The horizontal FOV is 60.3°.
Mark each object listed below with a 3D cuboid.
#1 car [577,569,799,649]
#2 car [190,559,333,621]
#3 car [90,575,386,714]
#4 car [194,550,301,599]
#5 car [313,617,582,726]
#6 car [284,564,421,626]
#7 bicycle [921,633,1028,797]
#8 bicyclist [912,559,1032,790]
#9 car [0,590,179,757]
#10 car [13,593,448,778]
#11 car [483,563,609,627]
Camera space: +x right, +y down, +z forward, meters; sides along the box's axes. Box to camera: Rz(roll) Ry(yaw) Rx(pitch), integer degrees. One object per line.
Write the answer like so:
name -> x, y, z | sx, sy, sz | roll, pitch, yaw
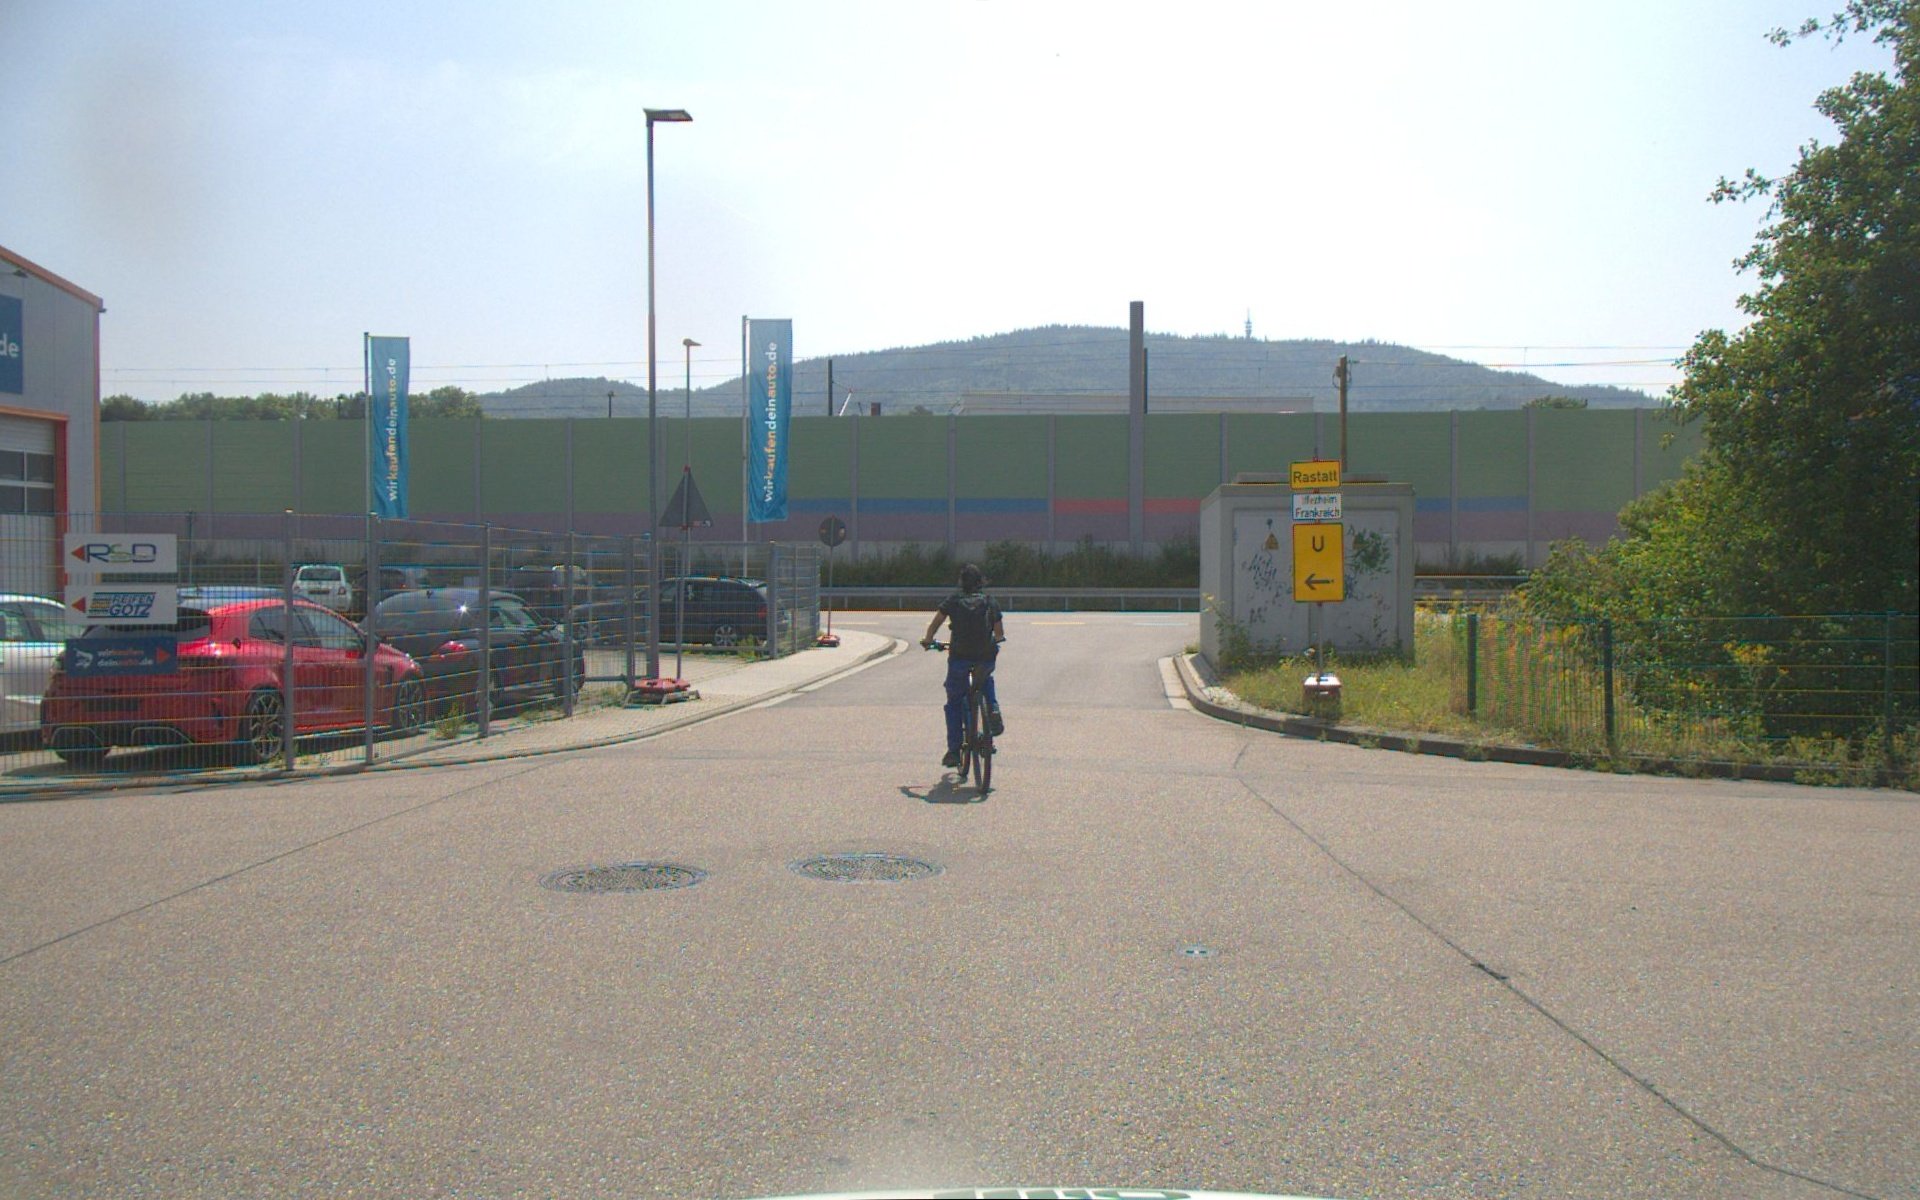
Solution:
car -> -5.370, 0.149, 32.907 | 3.901, 1.518, 2.002 | 0, 1, 11
car -> -19.184, -0.309, 45.614 | 1.951, 1.609, 4.003 | 0, 1, 6
car -> -8.531, 0.459, 19.925 | 1.452, 1.479, 3.898 | 0, 1, 7
car -> -25.617, -0.932, 59.605 | 1.662, 1.685, 4.004 | 0, 1, 9
car -> -5.915, 0.774, 19.599 | 1.452, 1.024, 4.117 | 0, 1, 7
car -> -16.546, -0.172, 45.276 | 1.951, 1.609, 4.003 | 0, 1, 6
bicycle -> 0.079, 0.818, 12.405 | 0.671, 1.070, 1.899 | 0, 1, -3
bicyclist -> 0.074, 0.537, 12.351 | 0.825, 1.647, 1.038 | 0, 0, -3
car -> -9.216, 0.654, 15.533 | 1.708, 1.429, 3.607 | 0, 1, 7
car -> -6.530, 0.676, 15.385 | 1.830, 1.410, 4.117 | 0, 1, 7
car -> -10.792, -0.163, 43.367 | 1.951, 1.609, 4.003 | 0, 1, 6
